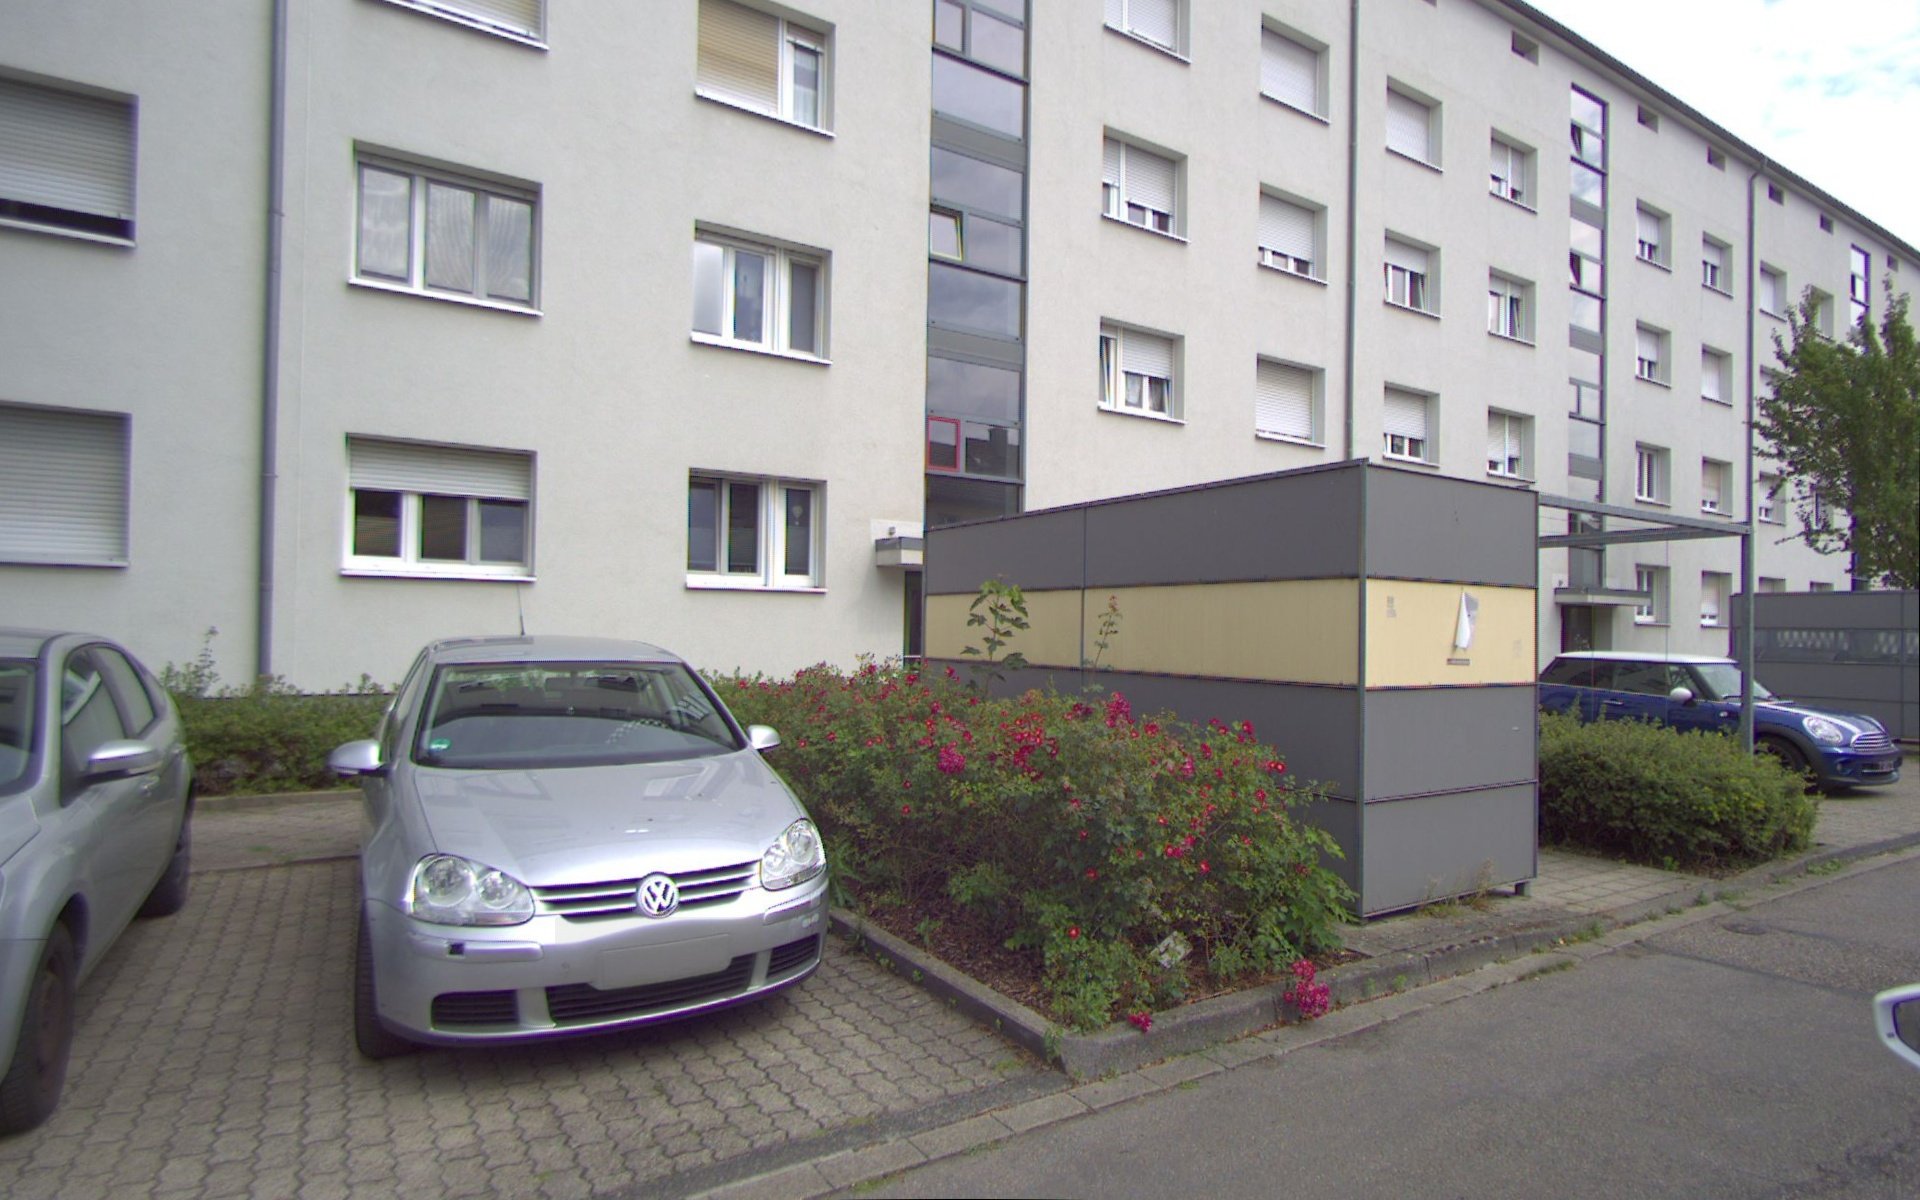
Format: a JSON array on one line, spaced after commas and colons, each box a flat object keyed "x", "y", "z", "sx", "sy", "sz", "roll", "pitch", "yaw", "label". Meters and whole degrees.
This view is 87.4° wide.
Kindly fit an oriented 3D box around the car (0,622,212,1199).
[{"x": -4.070, "y": 0.854, "z": 3.632, "sx": 1.762, "sy": 1.525, "sz": 4.031, "roll": 2, "pitch": -3, "yaw": -31, "label": "car"}]

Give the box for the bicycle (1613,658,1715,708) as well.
[{"x": 15.551, "y": 1.821, "z": 22.215, "sx": 1.775, "sy": 1.038, "sz": 0.479, "roll": 0, "pitch": -1, "yaw": 18, "label": "bicycle"}]

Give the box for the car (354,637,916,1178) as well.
[{"x": -1.955, "y": 0.938, "z": 4.979, "sx": 1.762, "sy": 1.483, "sz": 4.031, "roll": 2, "pitch": -3, "yaw": -31, "label": "car"}]

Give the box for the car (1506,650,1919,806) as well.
[{"x": 8.612, "y": 1.343, "z": 11.756, "sx": 1.632, "sy": 1.480, "sz": 3.621, "roll": 2, "pitch": -3, "yaw": -28, "label": "car"}]
